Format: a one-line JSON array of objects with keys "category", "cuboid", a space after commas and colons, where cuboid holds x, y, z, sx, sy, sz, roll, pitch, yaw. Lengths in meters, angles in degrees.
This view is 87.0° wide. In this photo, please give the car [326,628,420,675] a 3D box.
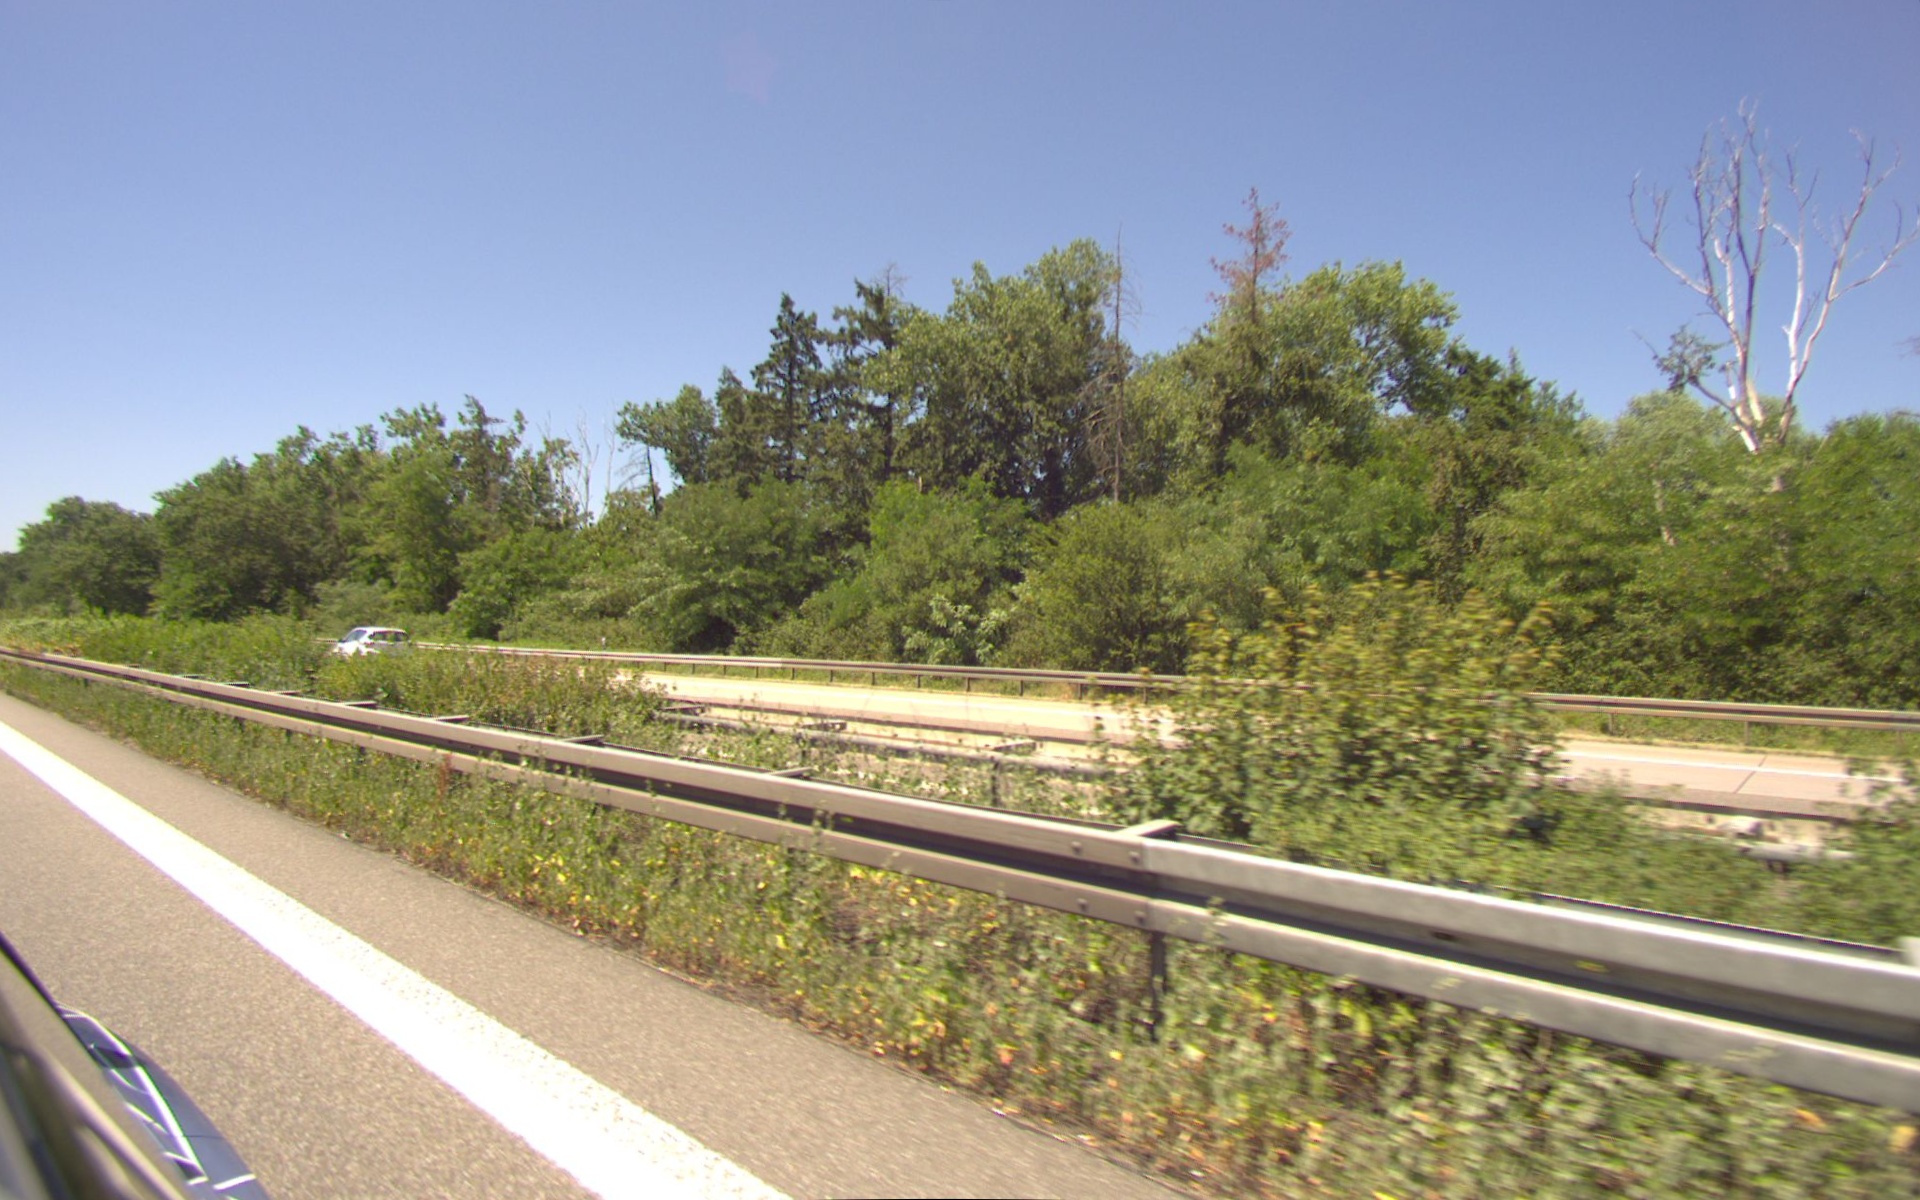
[{"category": "car", "cuboid": [-20.364, 1.756, 35.050, 3.742, 1.494, 1.622, -1, -5, 41]}]
